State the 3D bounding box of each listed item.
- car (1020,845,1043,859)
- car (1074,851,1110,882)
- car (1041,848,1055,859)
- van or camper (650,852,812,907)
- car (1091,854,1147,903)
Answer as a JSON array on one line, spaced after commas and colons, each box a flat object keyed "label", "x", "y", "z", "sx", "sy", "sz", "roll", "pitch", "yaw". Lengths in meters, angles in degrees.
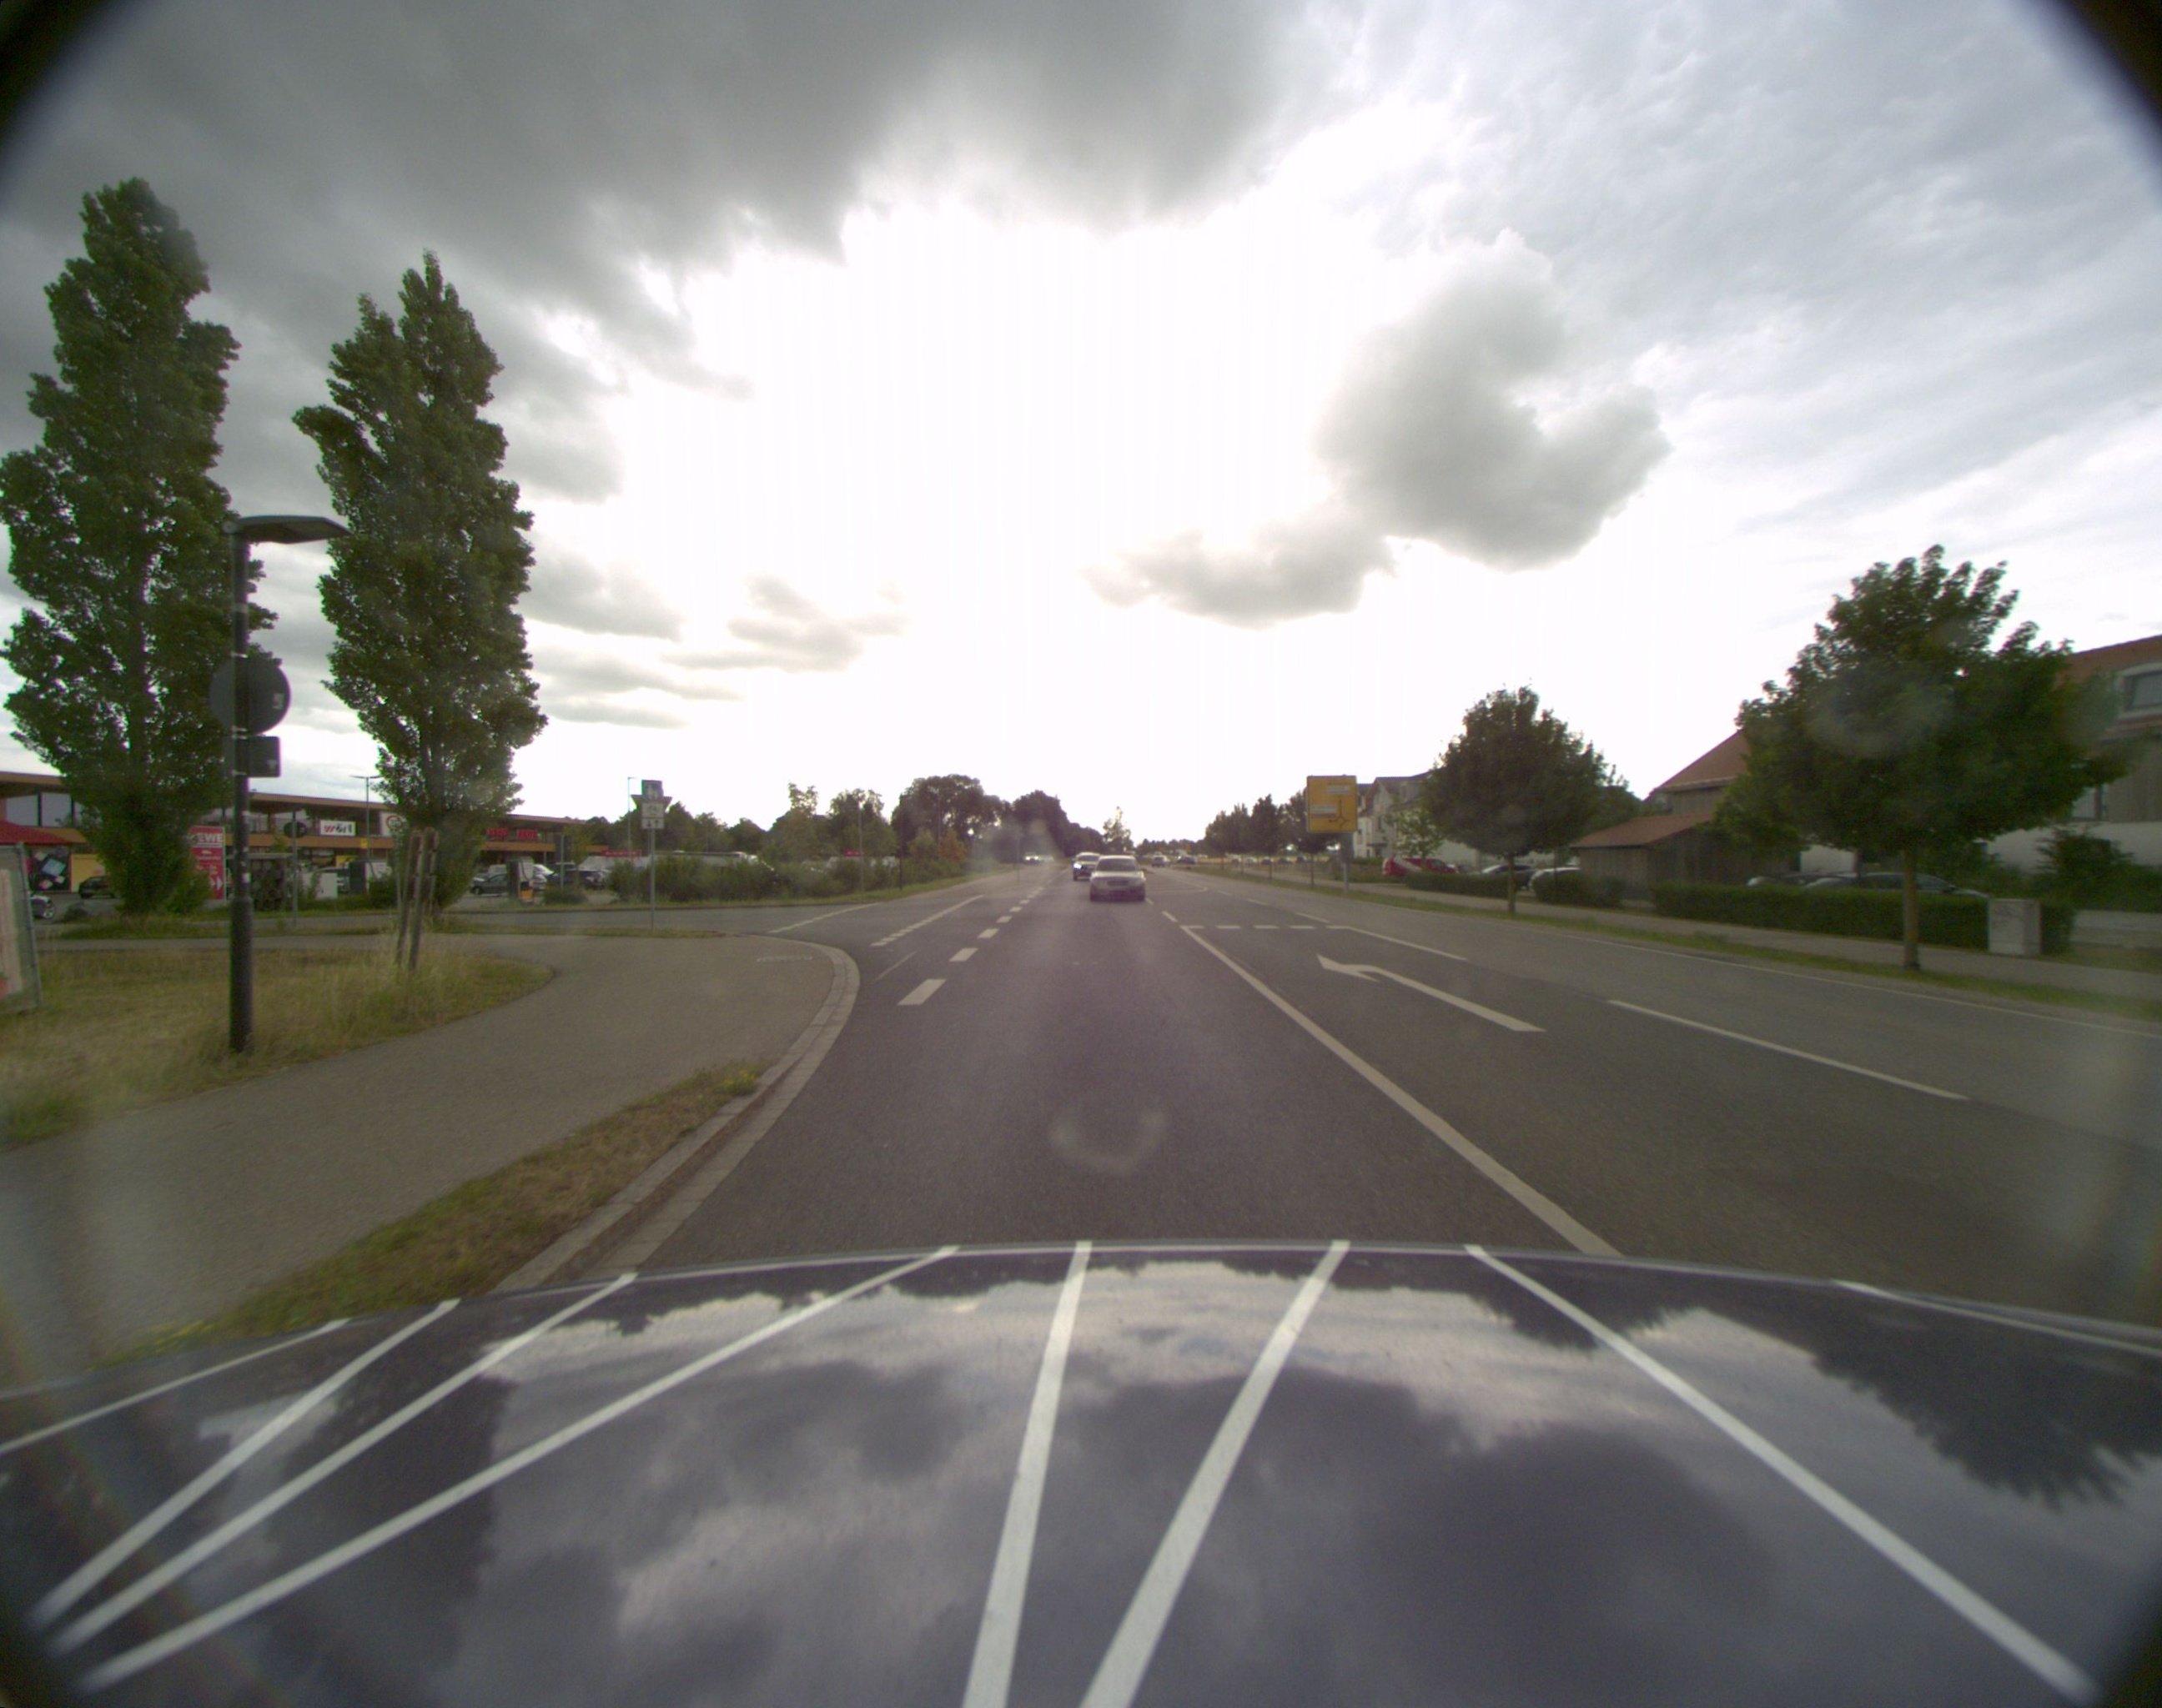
[{"label": "car", "x": -7.518, "y": -0.349, "z": 114.134, "sx": 2.003, "sy": 2.002, "sz": 4.232, "roll": 1, "pitch": 0, "yaw": -26}, {"label": "car", "x": 0.684, "y": 0.674, "z": 43.134, "sx": 1.870, "sy": 1.578, "sz": 5.063, "roll": -1, "pitch": 1, "yaw": 3}, {"label": "car", "x": -5.459, "y": -0.052, "z": 126.056, "sx": 1.998, "sy": 1.674, "sz": 4.001, "roll": 1, "pitch": 0, "yaw": 3}, {"label": "van or camper", "x": -16.302, "y": 1.159, "z": 35.645, "sx": 6.484, "sy": 2.450, "sz": 2.281, "roll": 1, "pitch": 0, "yaw": -2}, {"label": "car", "x": 1.260, "y": 0.741, "z": 25.013, "sx": 1.700, "sy": 1.458, "sz": 4.000, "roll": 0, "pitch": 1, "yaw": 3}]
